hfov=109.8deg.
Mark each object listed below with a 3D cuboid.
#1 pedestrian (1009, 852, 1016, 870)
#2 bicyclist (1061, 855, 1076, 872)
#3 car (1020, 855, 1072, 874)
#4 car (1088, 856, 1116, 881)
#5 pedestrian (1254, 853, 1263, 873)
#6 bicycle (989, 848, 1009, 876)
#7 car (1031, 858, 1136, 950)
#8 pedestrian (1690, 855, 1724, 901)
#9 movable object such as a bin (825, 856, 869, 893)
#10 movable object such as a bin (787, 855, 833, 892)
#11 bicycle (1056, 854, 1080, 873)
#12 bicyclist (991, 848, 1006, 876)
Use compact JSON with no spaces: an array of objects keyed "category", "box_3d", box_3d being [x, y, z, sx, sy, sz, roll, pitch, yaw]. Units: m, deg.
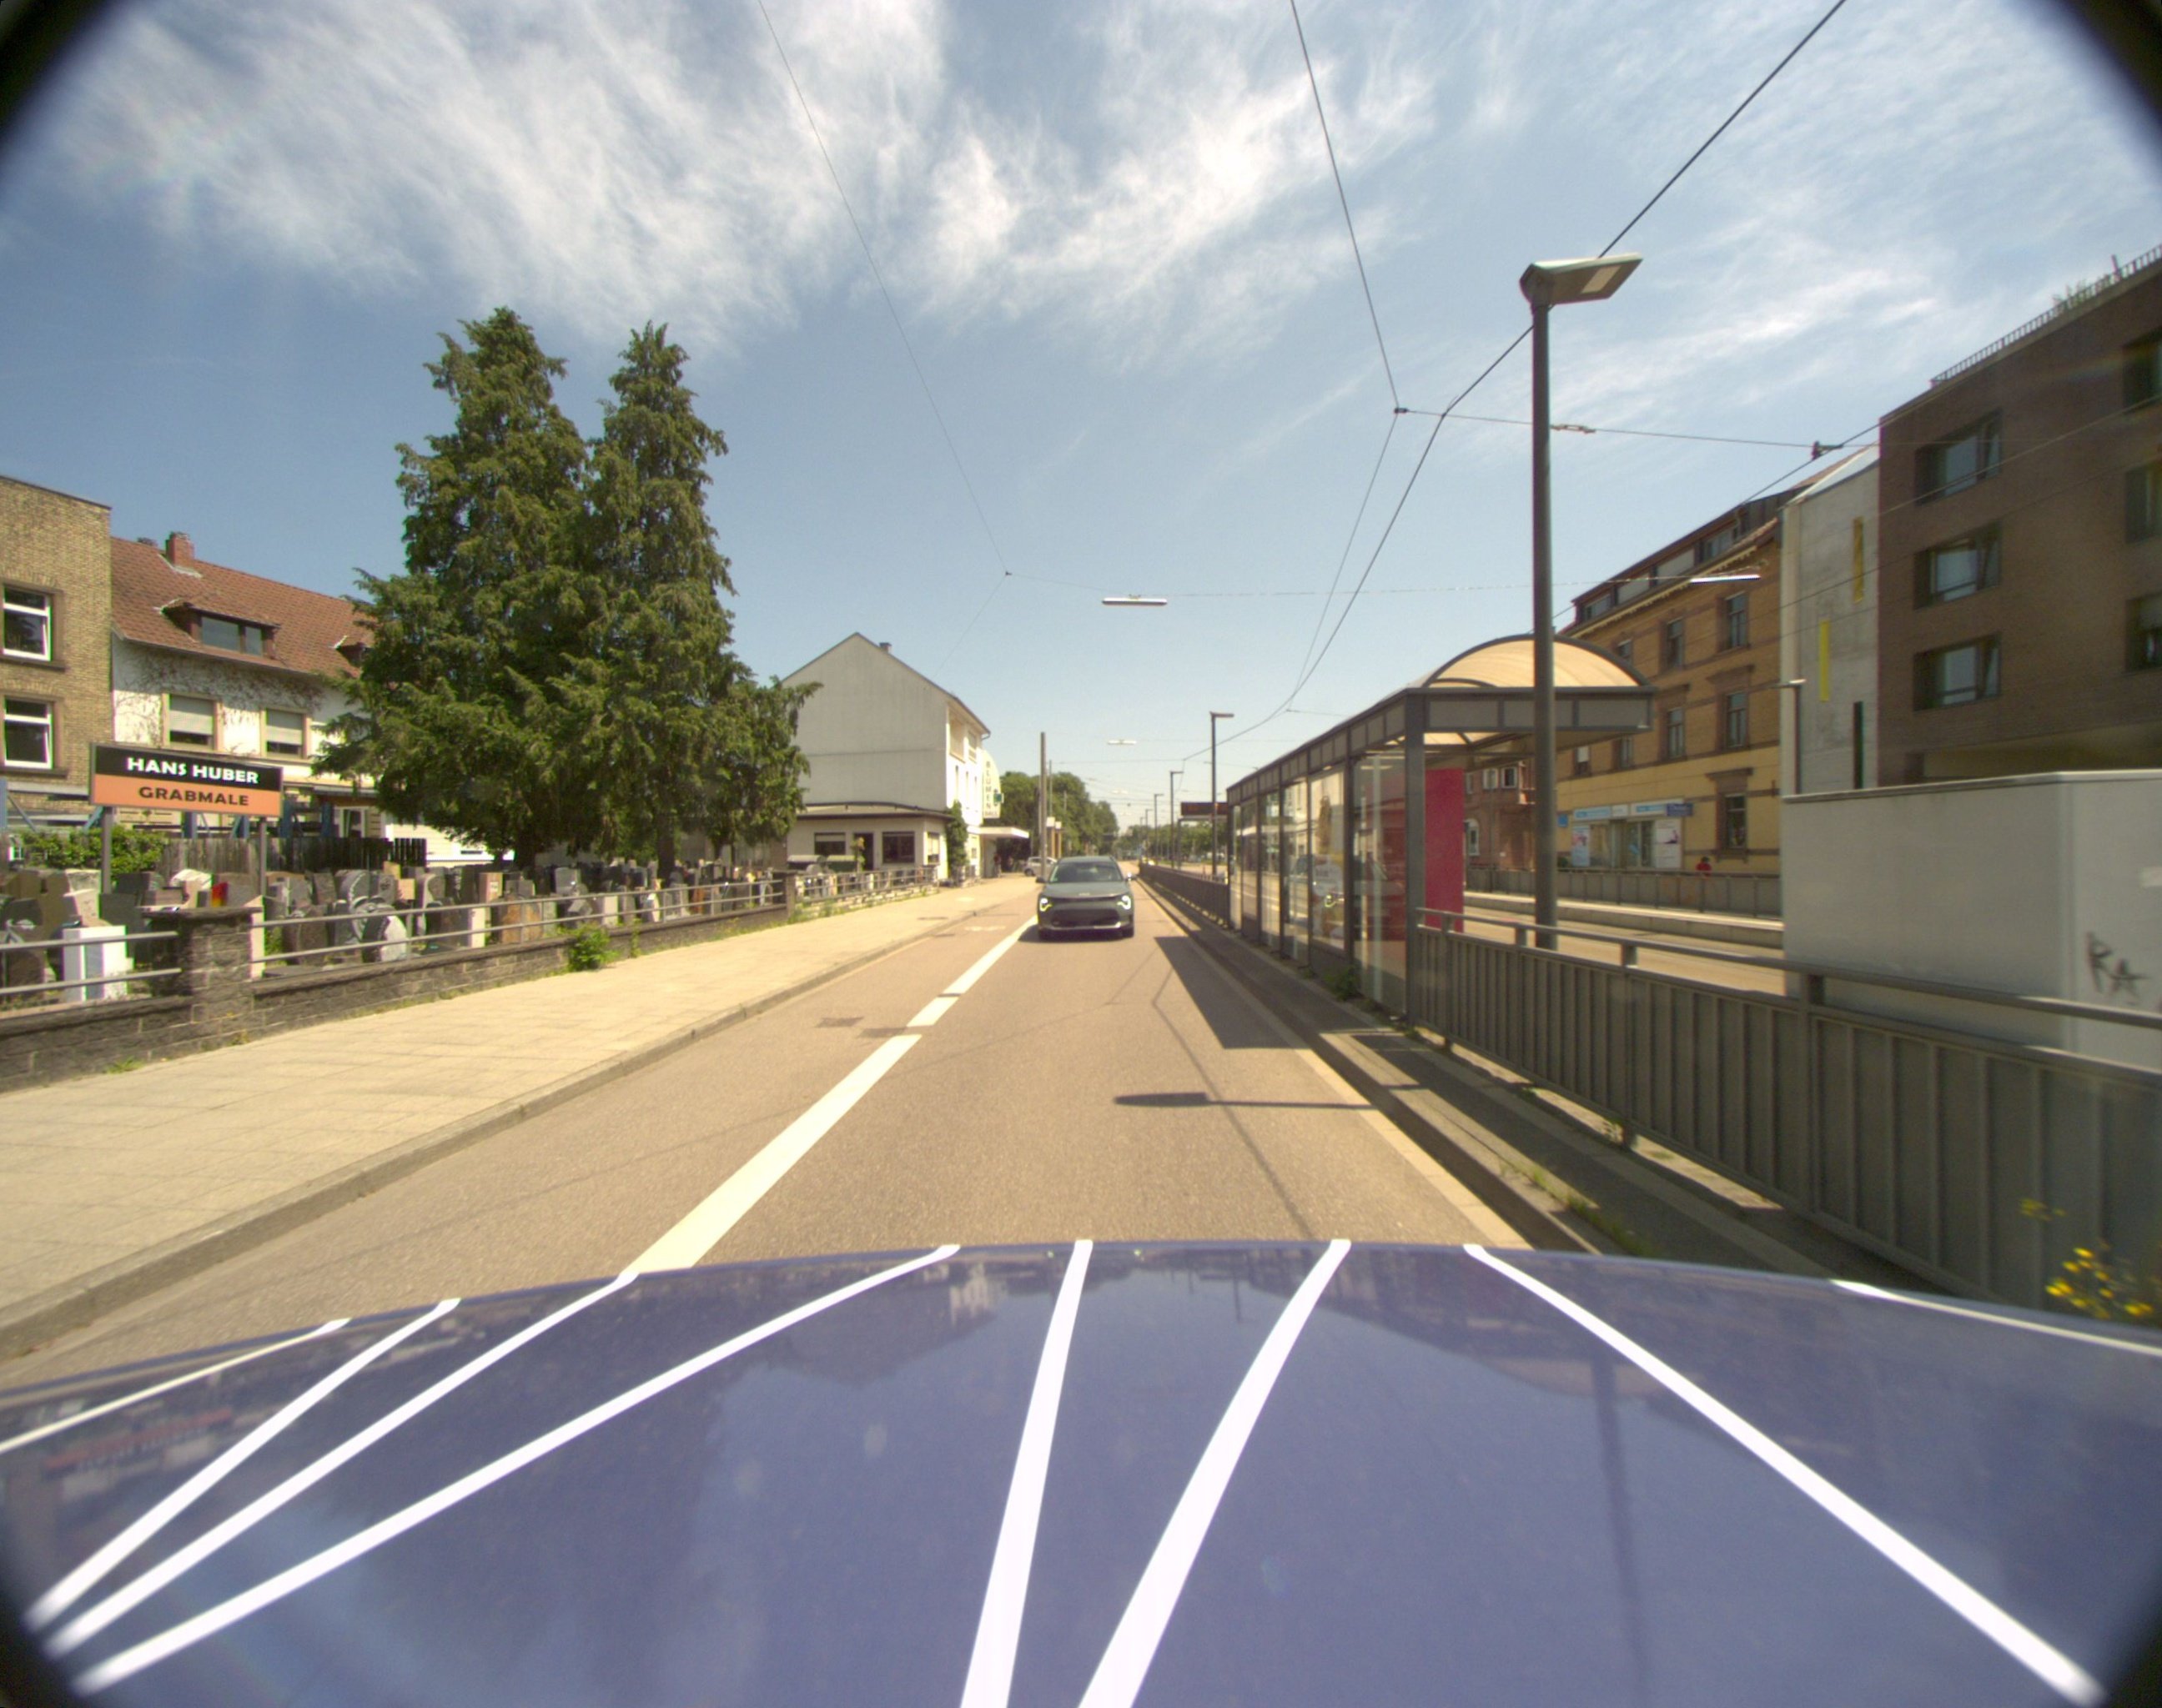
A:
[{"category":"pedestrian","box_3d":[-6.133,0.667,68.375,0.536,1.588,0.425,-2,1,-10]},{"category":"bicyclist","box_3d":[-1.180,0.898,70.945,0.987,1.568,0.866,3,0,-29]},{"category":"car","box_3d":[-2.838,0.822,61.865,3.995,1.508,1.698,0,0,4]},{"category":"car","box_3d":[1.418,0.966,52.077,1.748,1.546,4.487,-3,0,1]},{"category":"pedestrian","box_3d":[14.954,0.752,63.918,0.597,1.615,0.676,1,1,3]},{"category":"bicycle","box_3d":[-5.698,0.558,52.821,0.799,1.889,1.960,2,0,10]},{"category":"car","box_3d":[0.103,0.899,15.672,1.827,1.546,4.487,-1,0,2]},{"category":"pedestrian","box_3d":[21.846,0.827,26.527,0.604,1.586,0.715,-1,1,0]},{"category":"movable object such as a bin","box_3d":[-9.545,0.811,31.045,1.390,1.472,1.151,-1,0,3]},{"category":"movable object such as a bin","box_3d":[-11.114,0.807,31.219,1.390,1.472,1.152,-1,0,6]},{"category":"bicycle","box_3d":[-1.218,0.879,70.922,2.053,1.580,0.889,4,0,-29]},{"category":"bicyclist","box_3d":[-5.721,0.561,52.741,0.790,1.863,0.888,2,0,10]}]
